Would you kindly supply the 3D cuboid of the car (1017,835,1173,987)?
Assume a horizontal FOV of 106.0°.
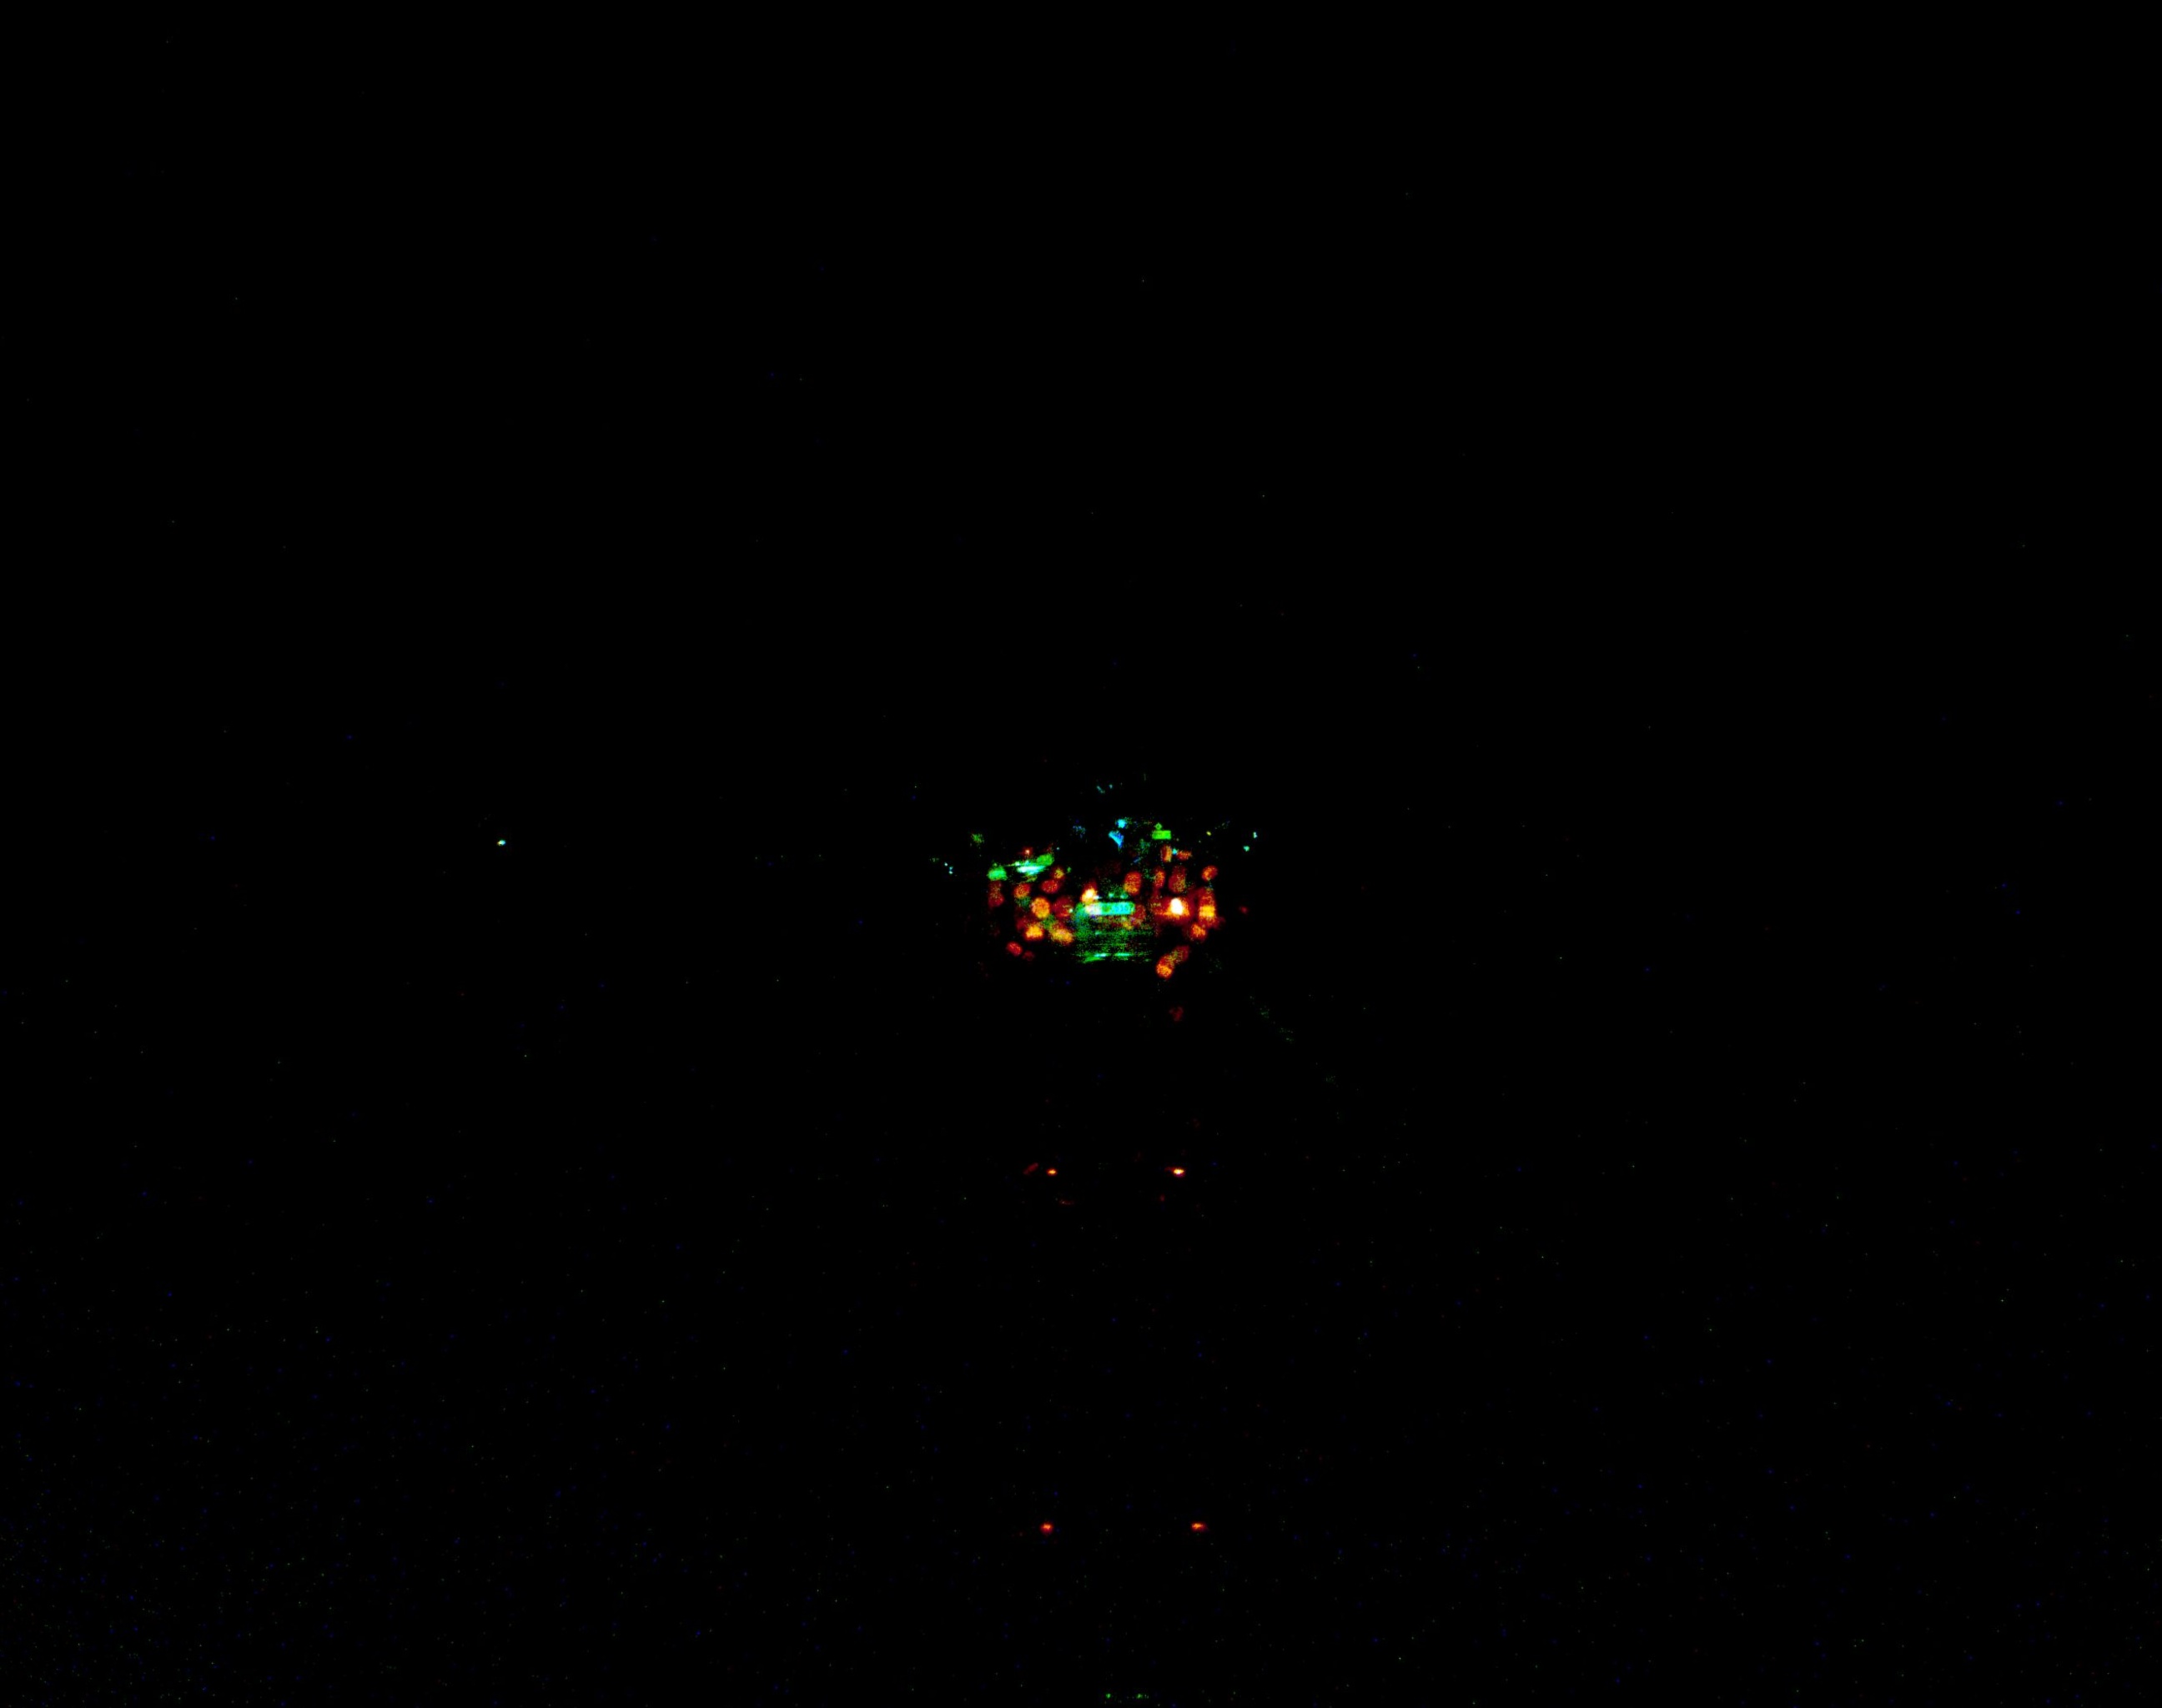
[{"bbox_3d":[0.246,0.676,11.318,1.768,1.712,4.002,-1,-1,2],"label":"car"}]
